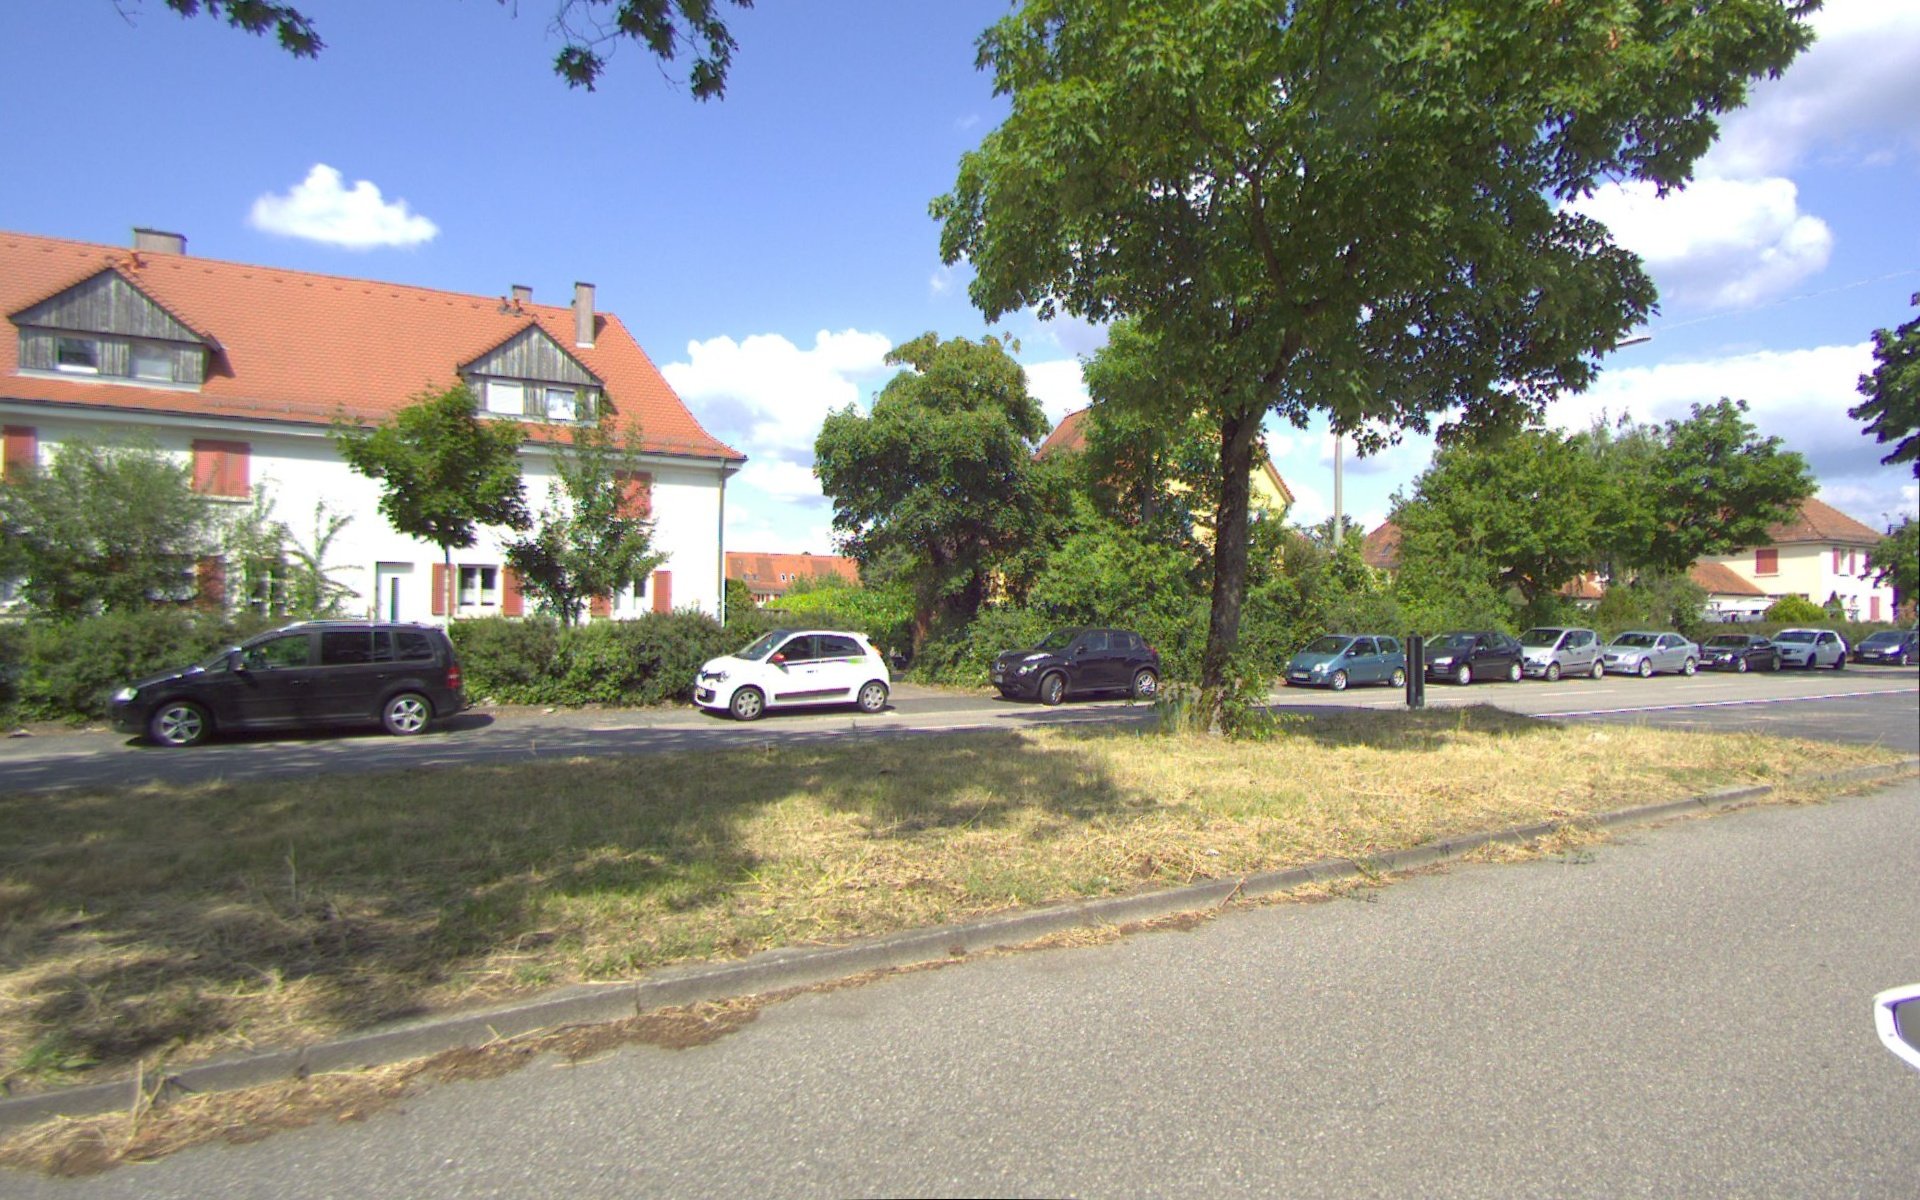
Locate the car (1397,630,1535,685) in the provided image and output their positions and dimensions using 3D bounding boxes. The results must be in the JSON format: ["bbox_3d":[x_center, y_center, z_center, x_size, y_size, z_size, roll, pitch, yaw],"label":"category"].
[{"bbox_3d":[14.524,1.610,28.782,4.305,1.413,1.396,1,1,-30],"label":"car"}]

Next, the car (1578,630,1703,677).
[{"bbox_3d":[22.599,1.741,33.319,4.474,1.388,1.504,1,1,-28],"label":"car"}]

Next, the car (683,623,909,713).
[{"bbox_3d":[-3.029,1.222,18.750,3.803,1.471,1.652,2,0,-31],"label":"car"}]

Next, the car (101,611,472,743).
[{"bbox_3d":[-9.583,1.053,14.694,4.265,1.634,1.652,2,0,-31],"label":"car"}]

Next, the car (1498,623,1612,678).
[{"bbox_3d":[18.456,1.525,31.147,3.698,1.578,1.396,1,1,-30],"label":"car"}]

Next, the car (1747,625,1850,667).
[{"bbox_3d":[32.910,1.786,39.397,4.073,1.505,1.682,2,0,-28],"label":"car"}]

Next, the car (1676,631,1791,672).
[{"bbox_3d":[28.211,1.832,36.600,4.527,1.324,1.629,1,1,-28],"label":"car"}]

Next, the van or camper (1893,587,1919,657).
[{"bbox_3d":[46.635,1.005,46.928,7.229,3.154,2.249,0,1,-28],"label":"van or camper"}]

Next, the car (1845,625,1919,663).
[{"bbox_3d":[39.985,1.899,43.165,3.943,1.505,1.629,2,0,-28],"label":"car"}]

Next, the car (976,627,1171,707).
[{"bbox_3d":[2.494,1.392,21.800,4.056,1.501,1.652,1,1,-31],"label":"car"}]

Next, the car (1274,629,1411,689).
[{"bbox_3d":[10.101,1.535,26.496,3.436,1.413,1.555,2,0,-30],"label":"car"}]
